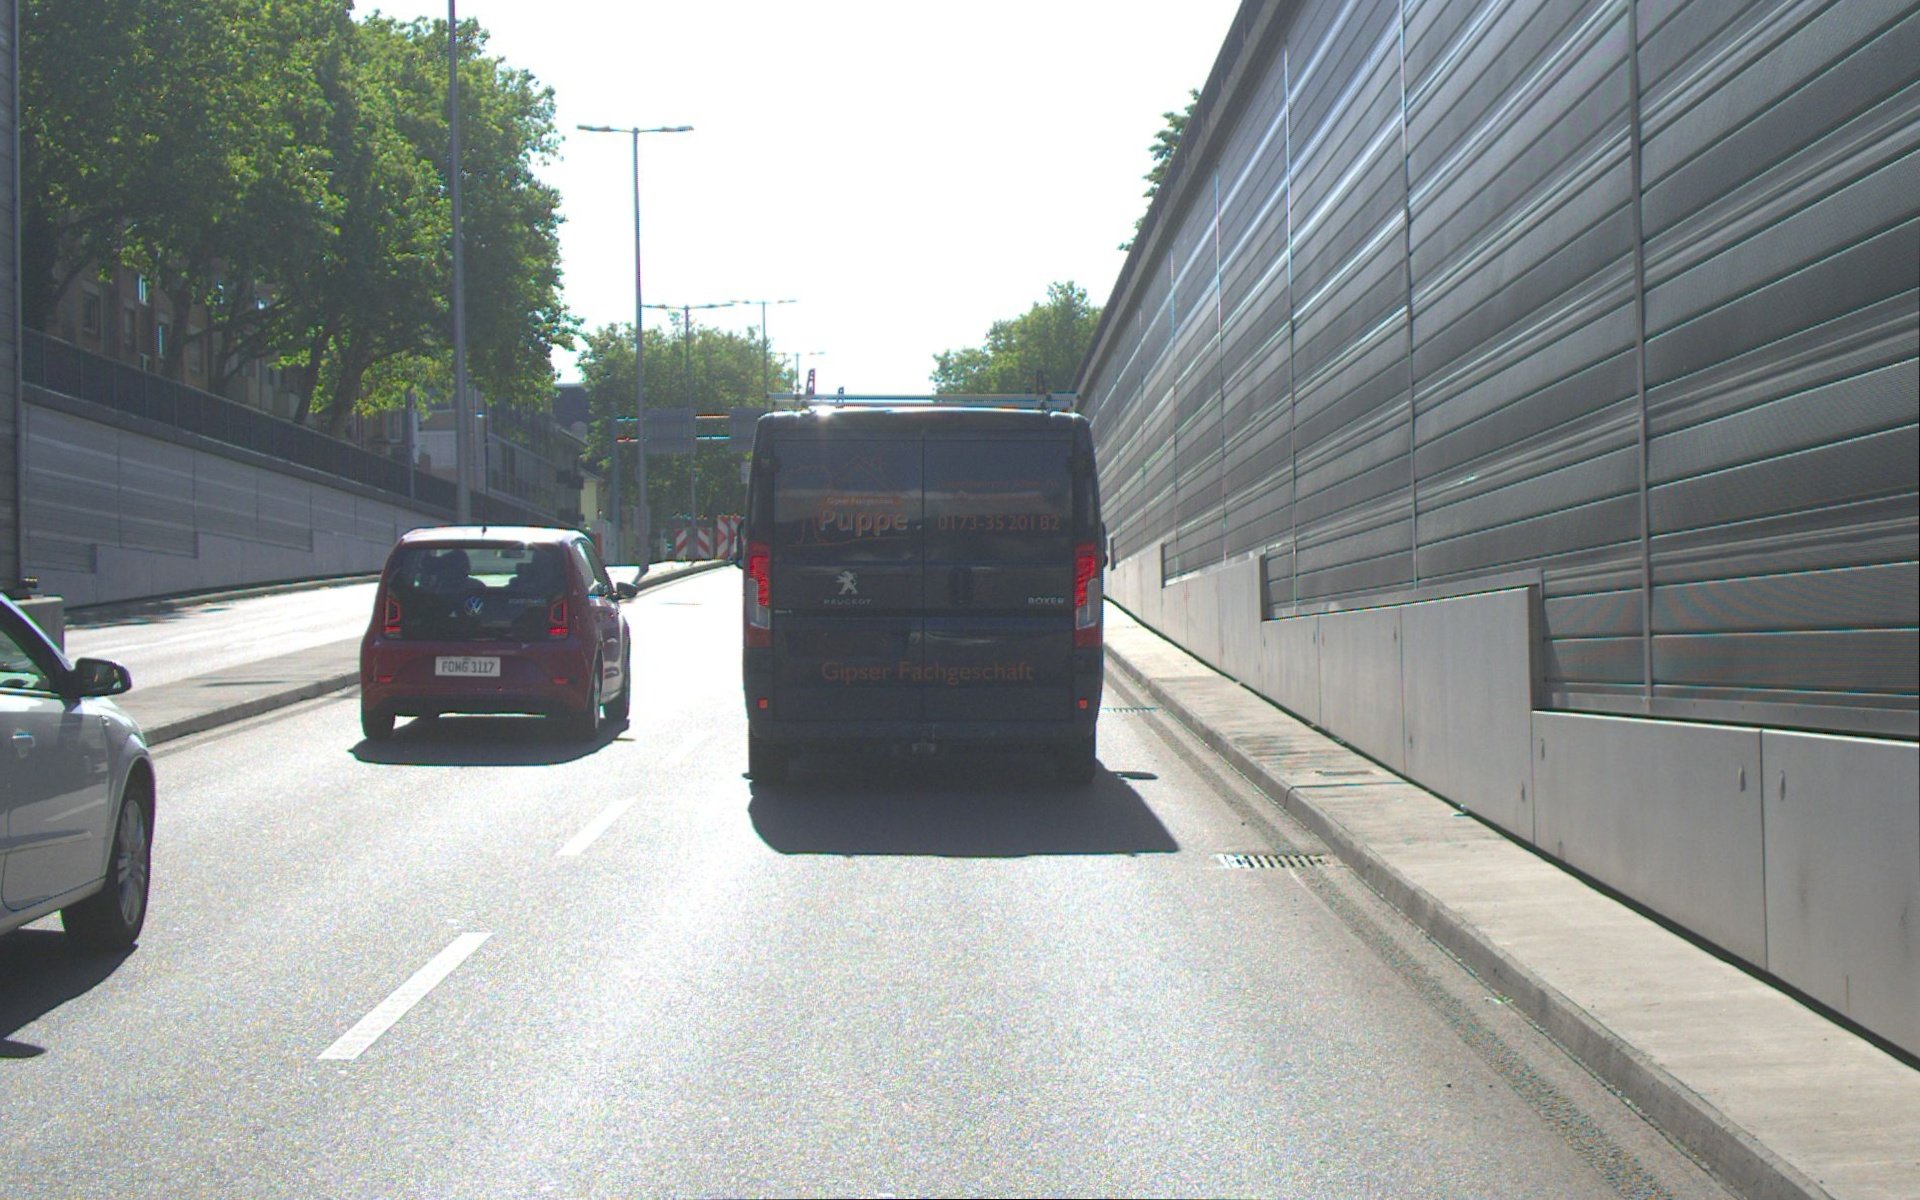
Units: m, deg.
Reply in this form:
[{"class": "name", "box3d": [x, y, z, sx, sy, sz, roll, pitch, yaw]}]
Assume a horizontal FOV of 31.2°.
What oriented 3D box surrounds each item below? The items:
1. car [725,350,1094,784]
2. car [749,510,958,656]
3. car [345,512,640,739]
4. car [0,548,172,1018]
[{"class": "car", "box3d": [-0.284, -0.213, 20.956, 2.030, 2.394, 3.973, 0, 1, 0]}, {"class": "car", "box3d": [-1.097, -0.221, 37.312, 1.892, 1.470, 3.990, 1, 1, 4]}, {"class": "car", "box3d": [-3.282, 0.127, 24.646, 1.689, 1.478, 3.319, 1, 2, -1]}, {"class": "car", "box3d": [-3.685, 0.540, 10.651, 1.619, 1.398, 3.852, 1, 1, 0]}]
